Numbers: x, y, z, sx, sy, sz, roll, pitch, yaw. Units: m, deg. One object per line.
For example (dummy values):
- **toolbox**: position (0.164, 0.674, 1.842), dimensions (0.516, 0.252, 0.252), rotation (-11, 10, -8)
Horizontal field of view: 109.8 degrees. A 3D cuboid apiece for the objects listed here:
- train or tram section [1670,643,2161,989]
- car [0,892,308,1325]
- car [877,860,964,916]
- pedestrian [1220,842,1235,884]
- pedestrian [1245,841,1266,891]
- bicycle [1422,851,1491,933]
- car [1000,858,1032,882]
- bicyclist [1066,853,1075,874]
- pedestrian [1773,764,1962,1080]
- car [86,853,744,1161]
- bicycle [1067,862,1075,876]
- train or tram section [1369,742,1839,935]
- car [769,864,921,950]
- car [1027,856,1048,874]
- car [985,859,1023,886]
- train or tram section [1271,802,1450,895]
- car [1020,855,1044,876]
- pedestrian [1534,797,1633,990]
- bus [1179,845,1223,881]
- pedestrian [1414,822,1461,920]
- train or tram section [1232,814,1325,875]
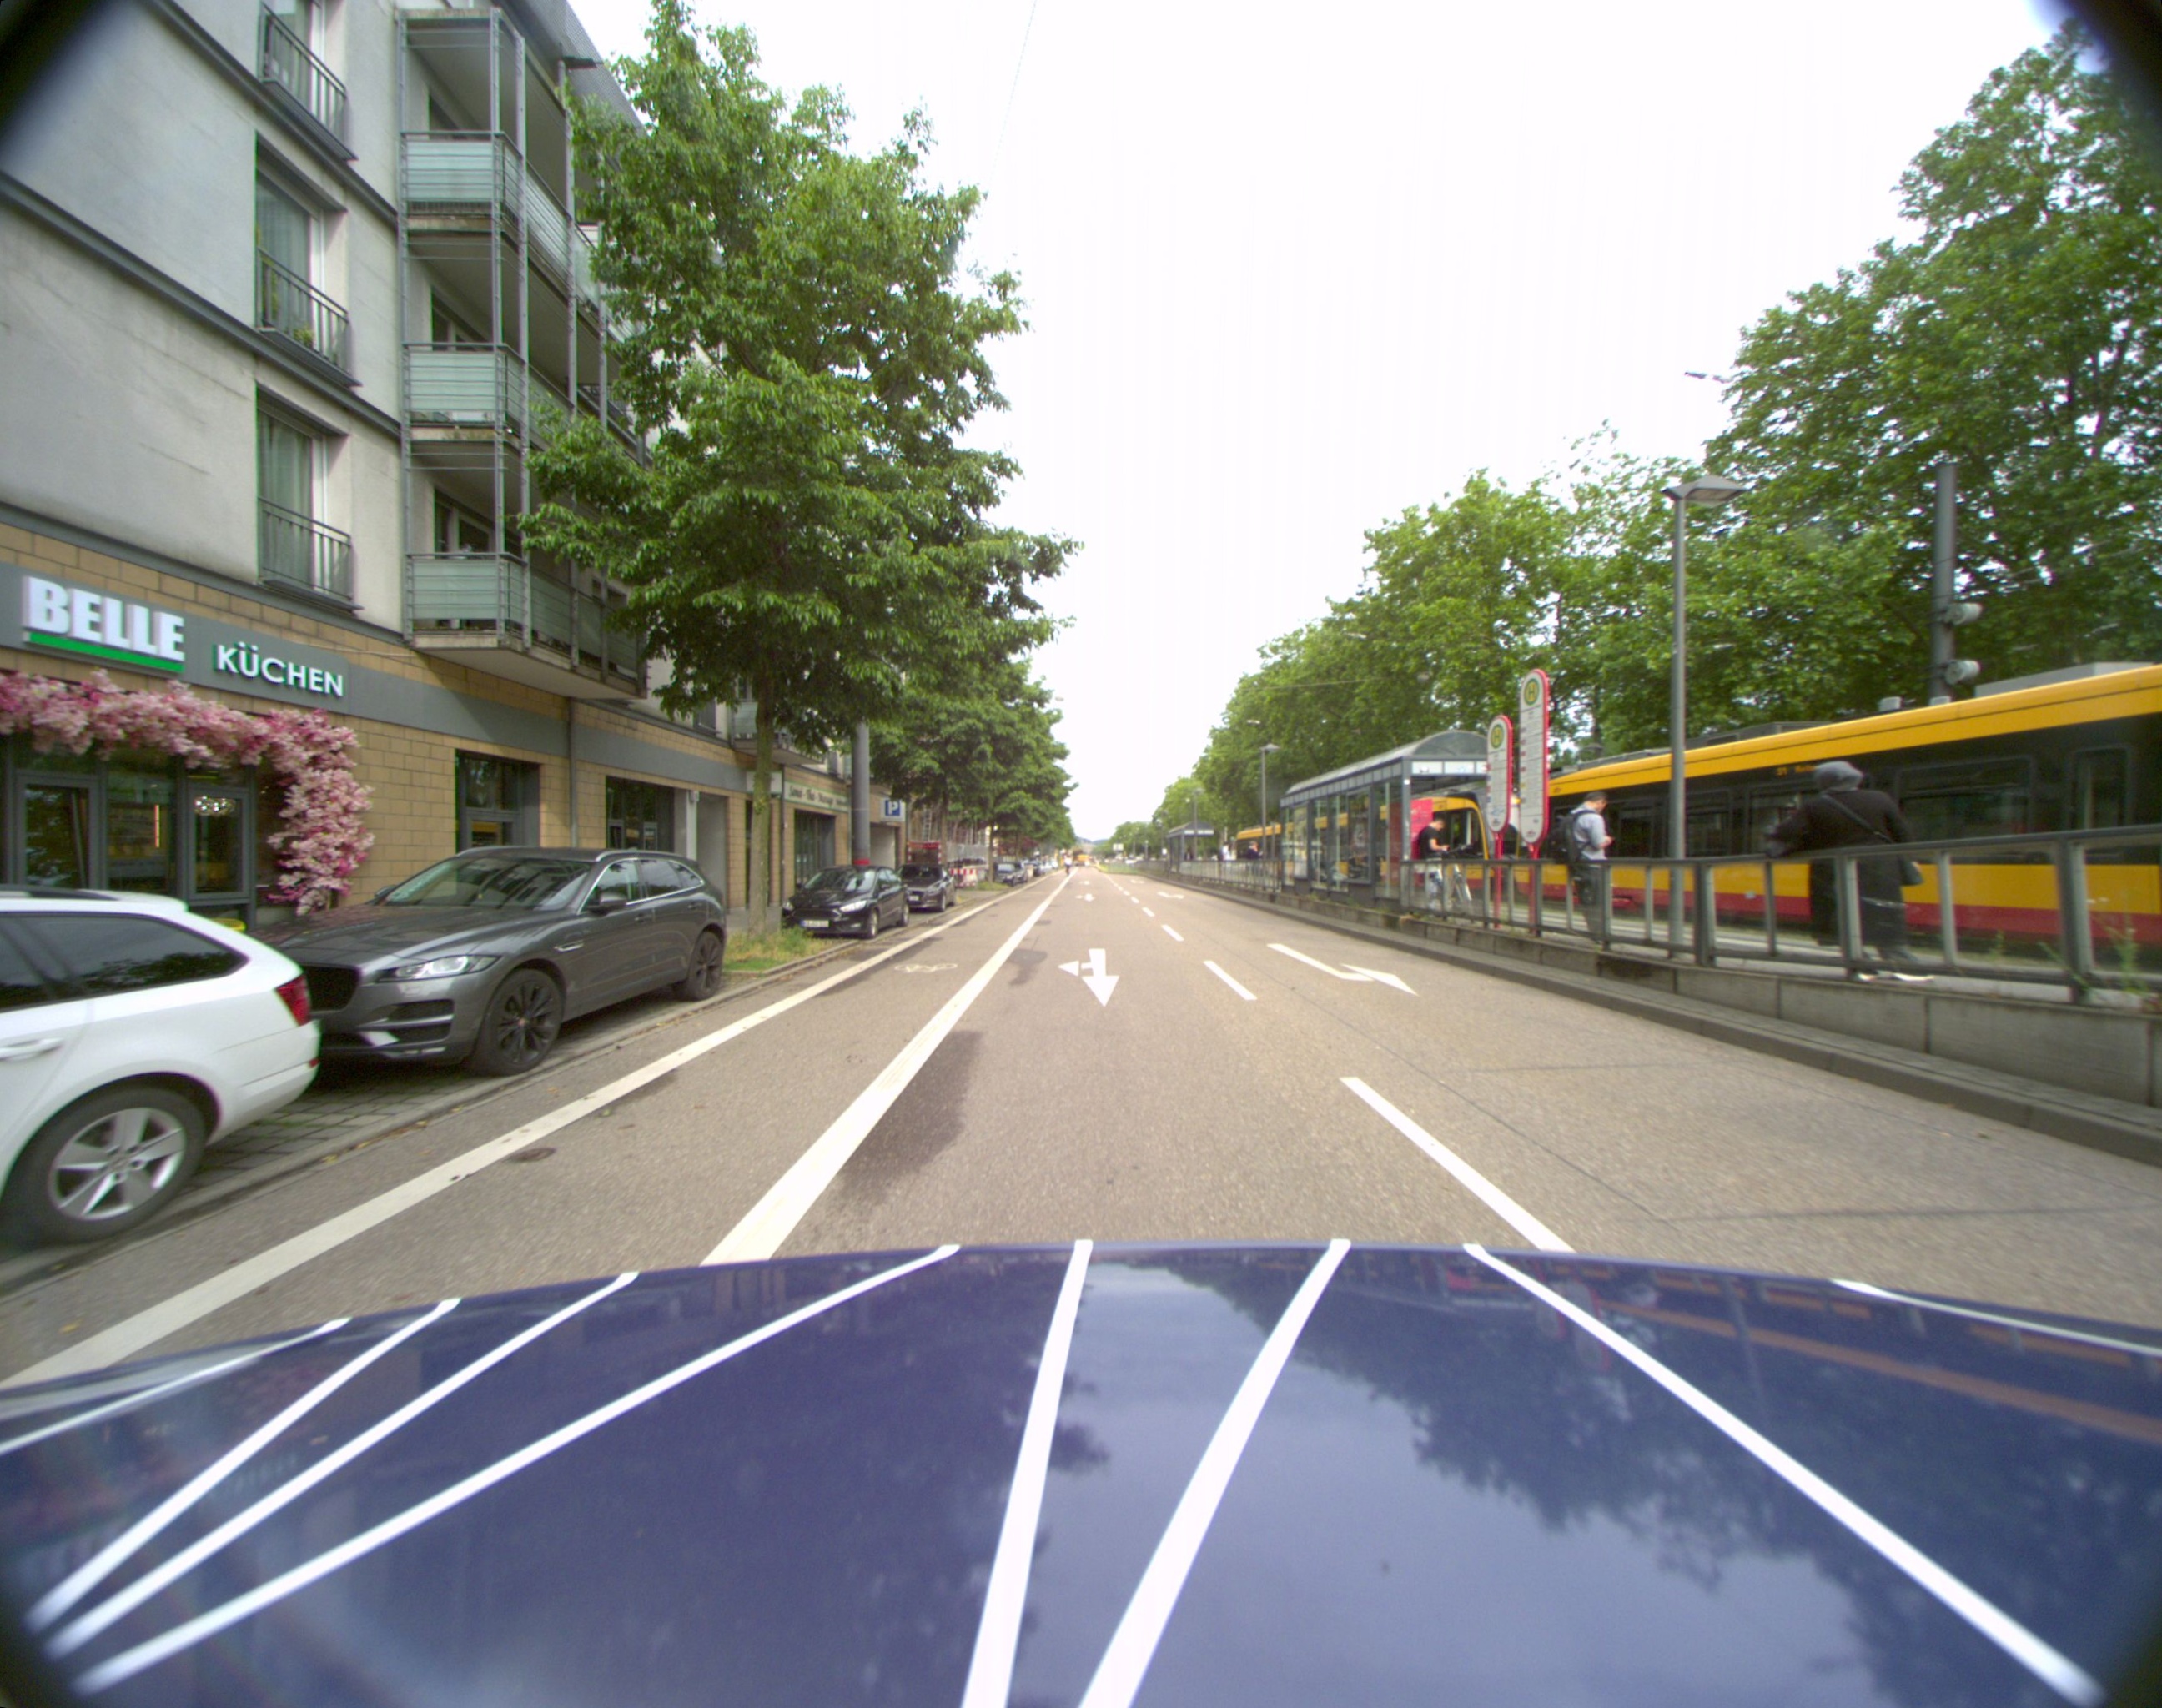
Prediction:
- **train or tram section**: position (12.494, -0.416, 6.532), dimensions (3.067, 3.511, 15.294), rotation (-2, 0, 1)
- **car**: position (-4.854, 0.975, 1.693), dimensions (1.680, 1.490, 4.390), rotation (2, 0, 2)
- **car**: position (-4.872, 0.984, 23.652), dimensions (1.802, 1.447, 4.388), rotation (2, 0, -1)
- **pedestrian**: position (5.791, 0.345, 30.118), dimensions (0.480, 1.623, 0.392), rotation (-2, 1, 2)
- **pedestrian**: position (5.815, 0.400, 25.396), dimensions (0.513, 1.623, 0.730), rotation (-2, 1, 2)
- **bicycle**: position (5.872, 0.561, 11.934), dimensions (0.420, 1.215, 1.289), rotation (-2, 0, 0)
- **car**: position (-4.348, 1.064, 51.270), dimensions (1.755, 1.452, 4.279), rotation (1, 0, 0)
- **bicyclist**: position (-0.961, 0.846, 67.674), dimensions (0.751, 1.776, 0.838), rotation (-2, 1, 1)
- **pedestrian**: position (5.547, 0.430, 5.368), dimensions (0.756, 2.002, 0.816), rotation (-2, 1, -36)
- **car**: position (-4.892, 0.890, 6.747), dimensions (1.716, 1.707, 4.711), rotation (2, 0, -1)
- **bicycle**: position (-0.889, 1.299, 67.076), dimensions (0.613, 1.116, 2.050), rotation (-2, 0, 1)
- **train or tram section**: position (12.671, -0.310, 21.845), dimensions (3.067, 3.511, 15.294), rotation (-2, 0, 1)
- **car**: position (-4.779, 0.998, 16.063), dimensions (1.680, 1.433, 4.408), rotation (2, 0, 2)
- **car**: position (-4.338, 1.123, 76.816), dimensions (1.837, 1.685, 3.762), rotation (1, 0, 0)
- **car**: position (-4.537, 1.087, 45.213), dimensions (1.755, 1.452, 4.279), rotation (1, 0, 0)
- **train or tram section**: position (12.829, -0.234, 37.371), dimensions (3.067, 3.511, 15.771), rotation (-2, 0, 1)
- **car**: position (-4.325, 1.025, 67.523), dimensions (1.837, 1.720, 4.279), rotation (1, 0, 0)
- **pedestrian**: position (5.539, 0.417, 8.423), dimensions (0.753, 2.002, 0.819), rotation (-1, 1, 23)
- **bus**: position (7.162, 0.509, 45.813), dimensions (1.998, 2.002, 4.000), rotation (-2, 0, 1)
- **pedestrian**: position (6.077, 0.285, 12.960), dimensions (0.532, 1.623, 0.471), rotation (-2, 1, -2)
- **train or tram section**: position (13.013, -0.577, 51.526), dimensions (3.100, 3.541, 12.538), rotation (-2, 0, 1)
